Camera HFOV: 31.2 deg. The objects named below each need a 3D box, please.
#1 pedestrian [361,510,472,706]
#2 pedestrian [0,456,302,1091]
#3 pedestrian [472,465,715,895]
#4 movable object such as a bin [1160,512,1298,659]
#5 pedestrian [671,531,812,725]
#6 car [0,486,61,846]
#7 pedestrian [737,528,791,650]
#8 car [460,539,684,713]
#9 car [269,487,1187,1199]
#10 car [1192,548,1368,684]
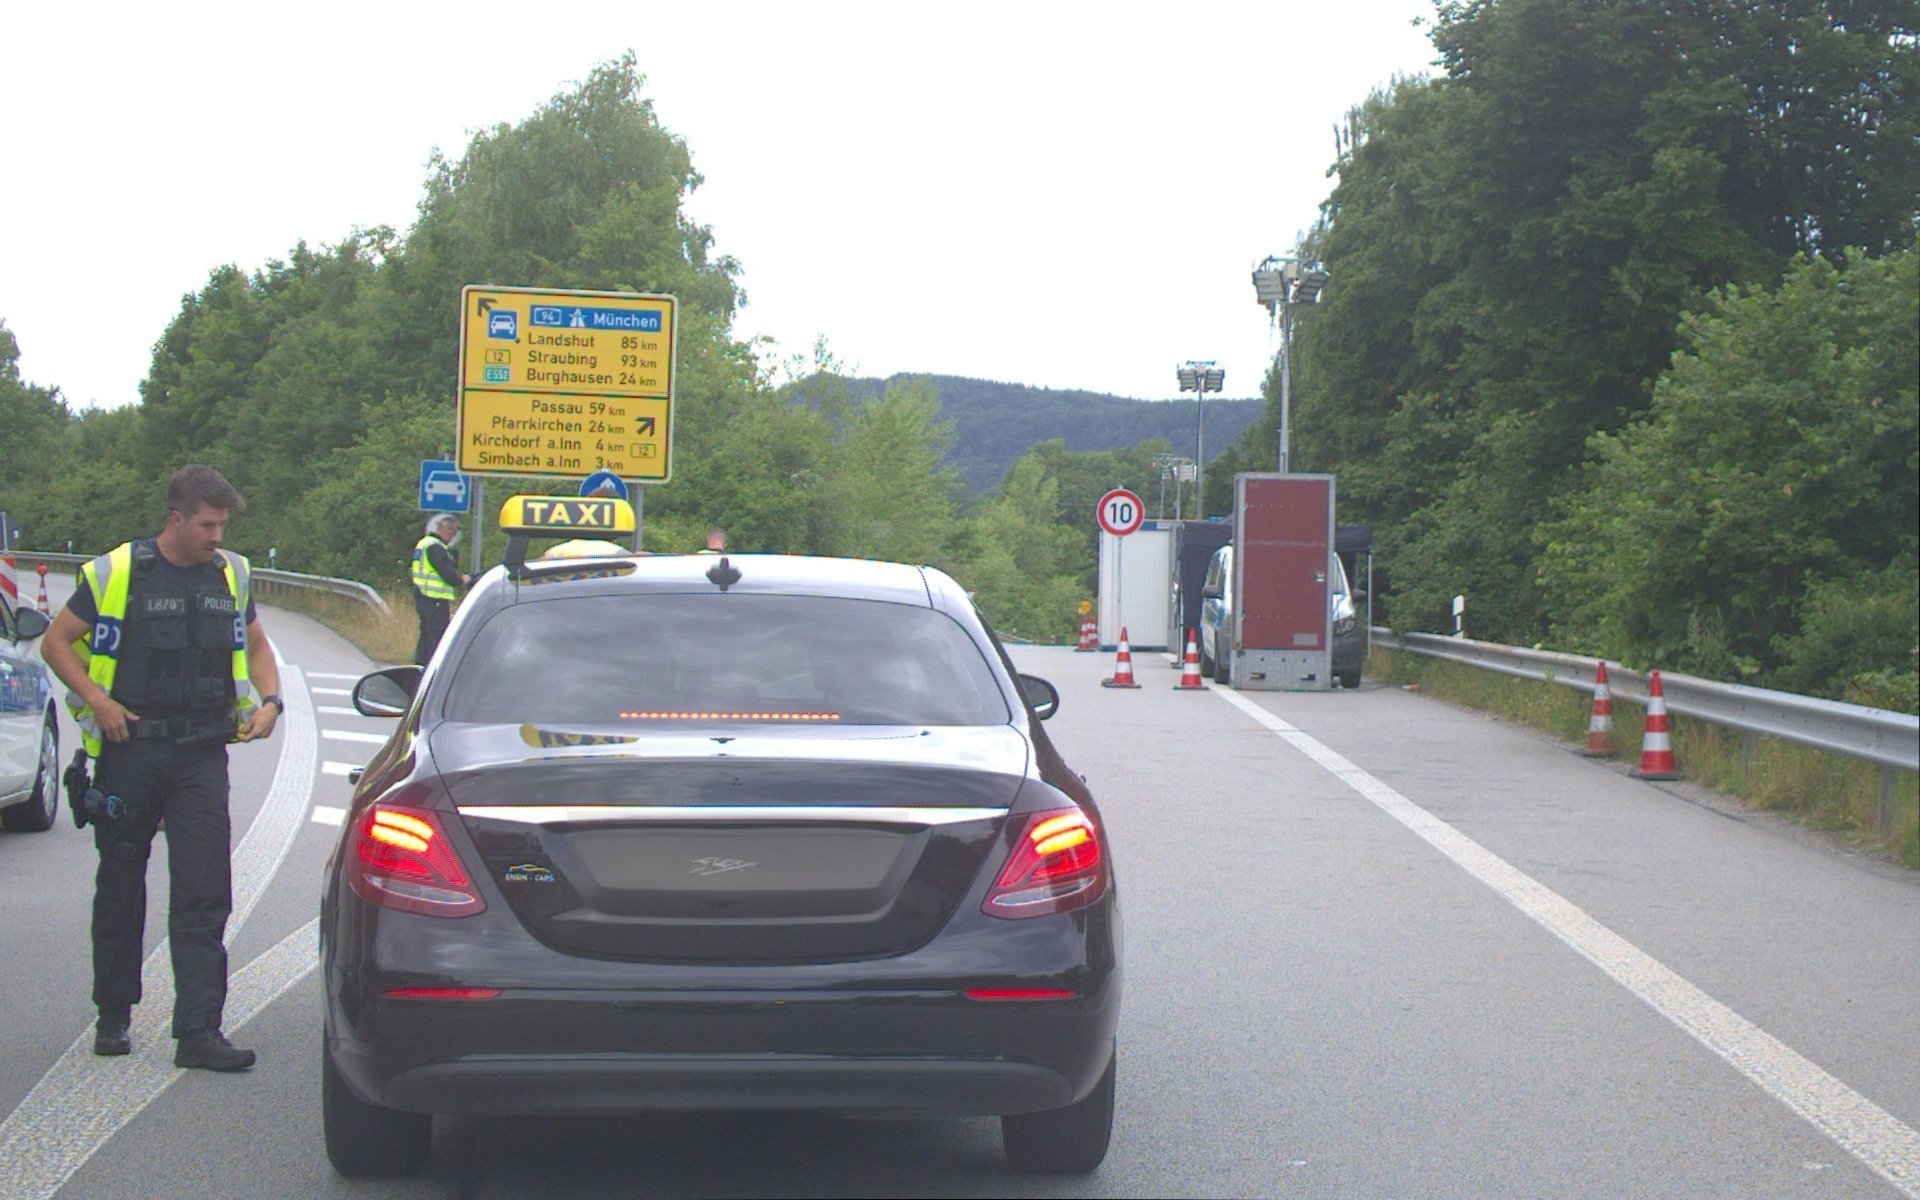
[{"bbox_3d":[-4.987,0.067,31.592,0.910,1.763,0.912,1,1,-4],"label":"pedestrian"},{"bbox_3d":[-2.332,0.463,9.792,0.760,1.712,0.818,0,1,-21],"label":"pedestrian"},{"bbox_3d":[-1.601,0.332,15.098,0.813,1.824,0.809,0,1,16],"label":"pedestrian"},{"bbox_3d":[4.329,-0.257,55.916,1.993,2.272,4.168,1,1,2],"label":"movable object such as a bin"},{"bbox_3d":[-1.950,0.242,30.666,0.908,1.692,0.914,1,0,-32],"label":"pedestrian"},{"bbox_3d":[-5.527,0.318,16.108,1.868,1.737,4.009,1,1,-5],"label":"car"},{"bbox_3d":[-3.154,-0.182,55.381,0.664,1.954,0.759,0,1,15],"label":"pedestrian"},{"bbox_3d":[-3.545,0.191,32.022,1.855,1.493,4.257,1,1,-4],"label":"car"},{"bbox_3d":[-0.673,0.540,9.188,1.855,1.589,4.376,1,1,-6],"label":"car"},{"bbox_3d":[4.313,0.175,47.077,1.916,1.672,5.083,3,1,1],"label":"car"}]
